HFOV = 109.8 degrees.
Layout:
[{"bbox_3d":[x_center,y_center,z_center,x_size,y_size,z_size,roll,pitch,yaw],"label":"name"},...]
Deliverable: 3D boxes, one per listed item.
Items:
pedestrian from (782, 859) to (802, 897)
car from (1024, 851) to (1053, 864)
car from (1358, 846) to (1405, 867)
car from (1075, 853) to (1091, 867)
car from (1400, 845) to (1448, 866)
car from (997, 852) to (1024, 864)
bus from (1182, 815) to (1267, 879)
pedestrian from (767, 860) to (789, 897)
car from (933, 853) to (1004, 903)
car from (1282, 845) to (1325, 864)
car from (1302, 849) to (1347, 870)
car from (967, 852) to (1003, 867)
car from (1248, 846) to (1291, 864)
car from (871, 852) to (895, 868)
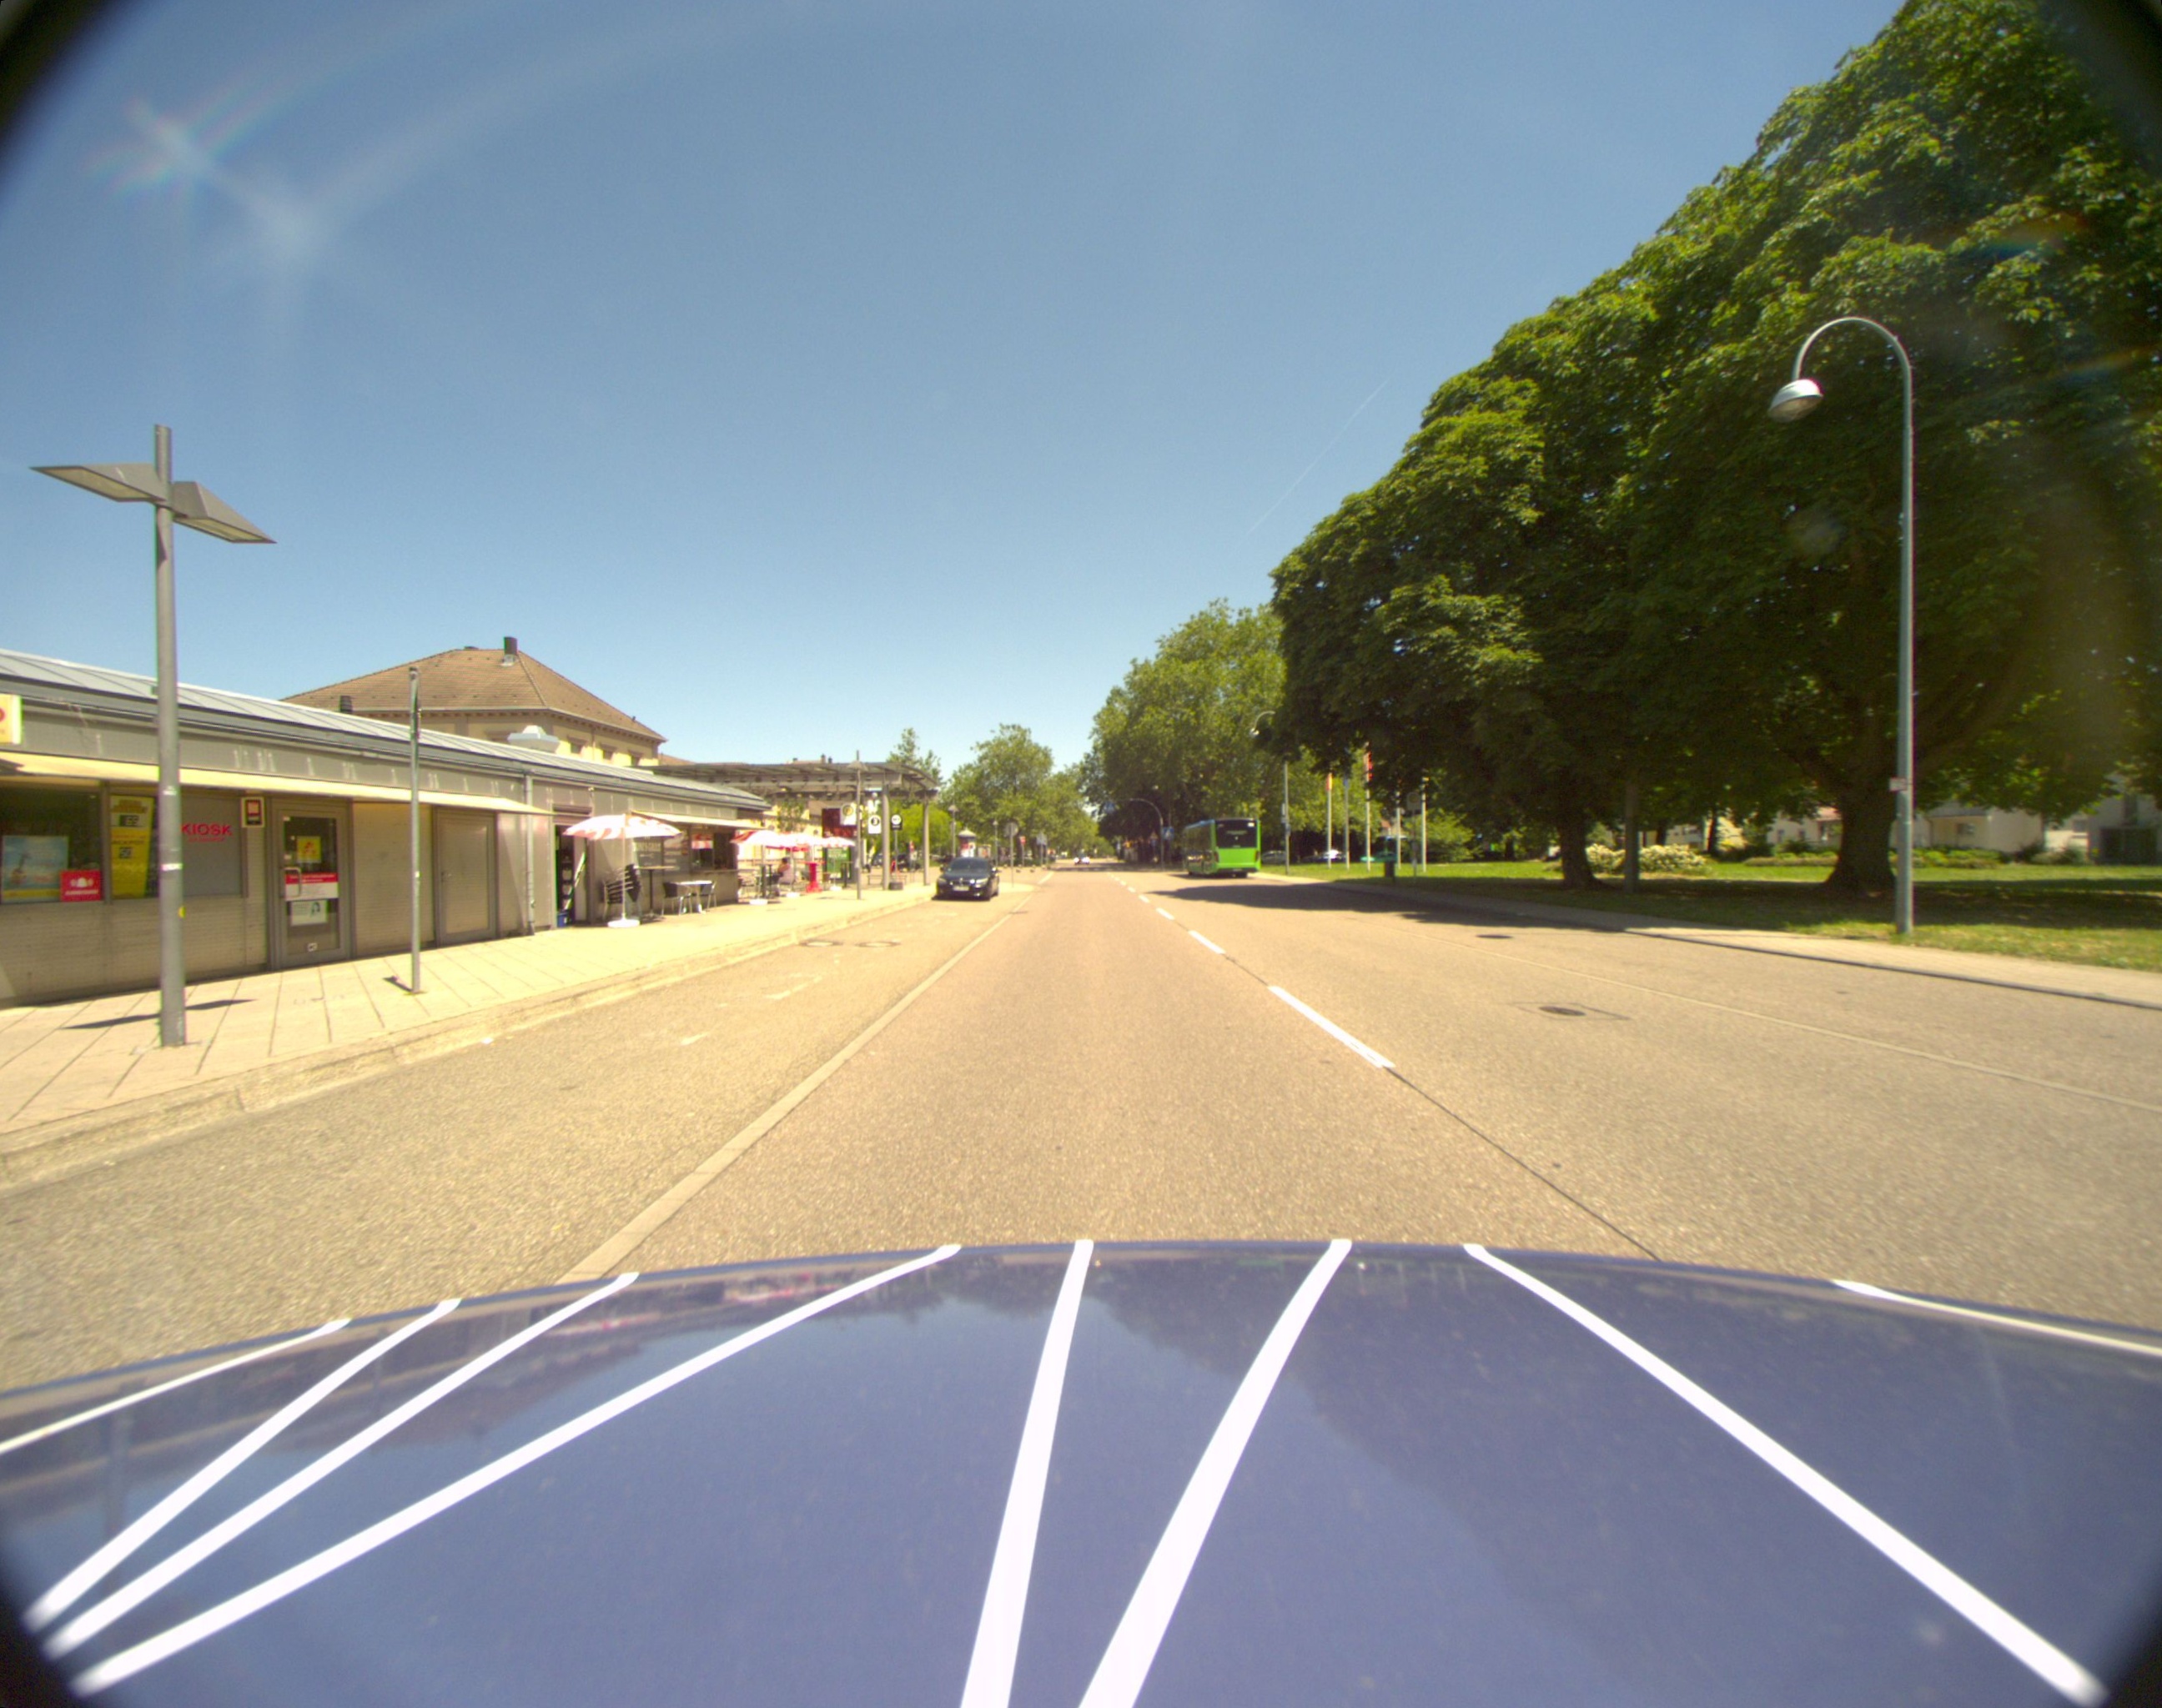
[{"bbox_3d":[-9.645,0.787,25.364,0.504,1.225,0.513,-1,1,-5],"label":"pedestrian"},{"bbox_3d":[-6.039,0.491,107.233,3.999,1.655,1.999,-1,1,-6],"label":"car"},{"bbox_3d":[30.614,0.262,77.522,3.997,2.002,2.000,-1,1,0],"label":"car"},{"bbox_3d":[0.263,0.708,91.129,1.778,1.536,4.182,1,1,1],"label":"car"},{"bbox_3d":[34.974,0.158,77.616,3.997,2.002,2.000,-1,1,0],"label":"car"},{"bbox_3d":[-10.360,0.640,111.600,3.999,1.655,1.999,-1,1,-6],"label":"car"},{"bbox_3d":[8.266,-0.407,45.592,2.814,3.283,11.856,-1,1,0],"label":"bus"},{"bbox_3d":[-10.050,0.819,25.205,0.489,1.204,0.472,-1,1,7],"label":"pedestrian"},{"bbox_3d":[-3.867,0.780,26.713,1.778,1.536,4.182,1,1,1],"label":"car"},{"bbox_3d":[24.251,0.086,82.937,3.988,2.002,2.004,0,1,36],"label":"car"},{"bbox_3d":[24.734,0.535,77.353,3.996,2.002,2.000,-1,1,3],"label":"car"},{"bbox_3d":[-11.156,0.587,88.204,3.998,1.655,1.999,-1,1,-3],"label":"car"},{"bbox_3d":[19.319,0.104,77.950,3.996,1.793,2.000,-1,1,3],"label":"car"},{"bbox_3d":[-26.302,0.745,101.105,1.998,2.002,4.000,-1,1,1],"label":"car"}]
